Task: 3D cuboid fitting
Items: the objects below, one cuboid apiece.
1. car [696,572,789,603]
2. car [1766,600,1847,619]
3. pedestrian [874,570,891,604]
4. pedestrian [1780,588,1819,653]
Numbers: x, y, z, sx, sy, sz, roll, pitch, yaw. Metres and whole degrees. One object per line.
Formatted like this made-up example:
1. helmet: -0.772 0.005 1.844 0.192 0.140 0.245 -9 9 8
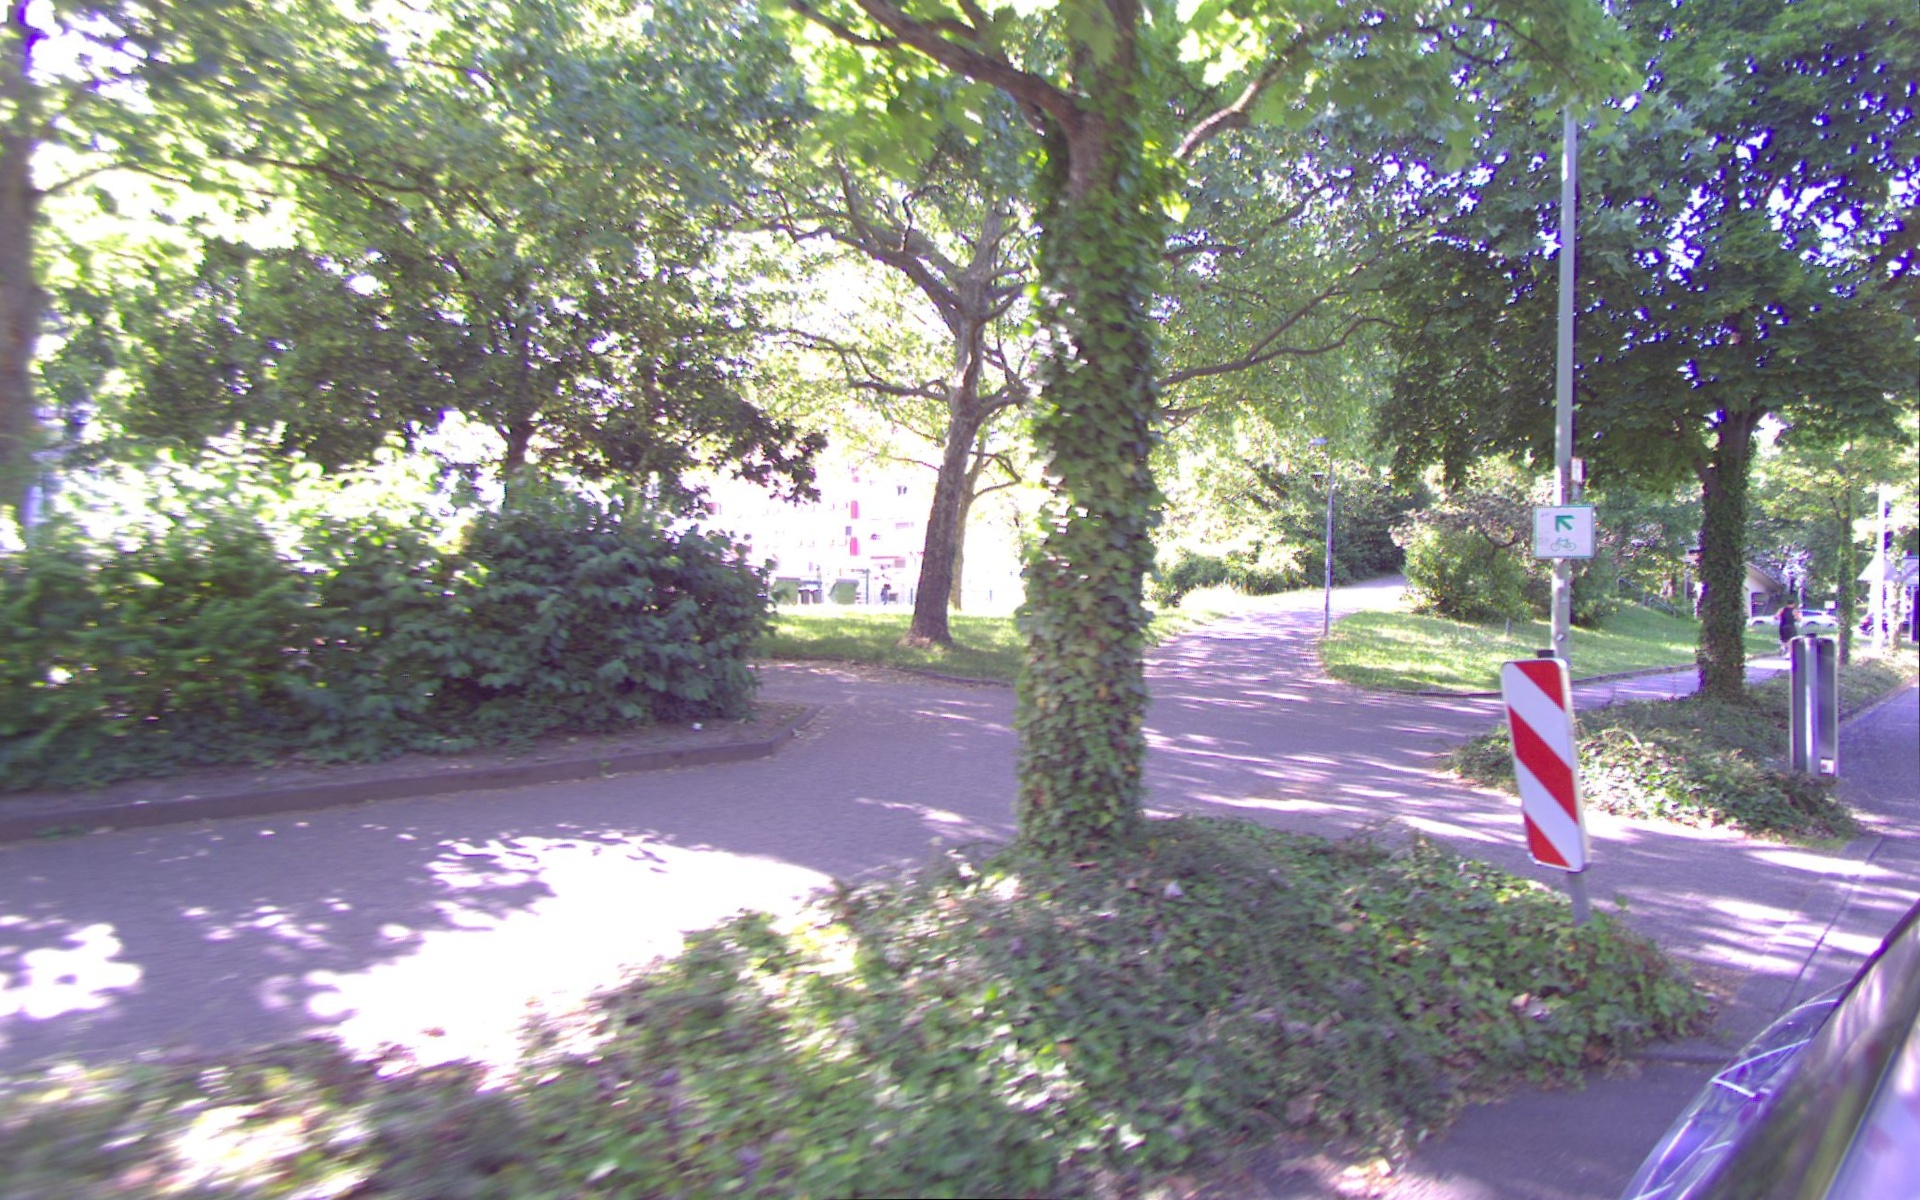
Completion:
1. car: -9.599 -0.524 44.821 3.794 1.310 1.539 0 -1 -45
2. car: 59.227 0.667 70.862 1.727 1.282 4.085 0 -1 -41
3. pedestrian: -3.697 -0.604 48.454 0.618 1.609 0.677 -1 -1 17
4. pedestrian: 24.636 0.590 29.697 0.660 1.855 0.792 1 0 -42
